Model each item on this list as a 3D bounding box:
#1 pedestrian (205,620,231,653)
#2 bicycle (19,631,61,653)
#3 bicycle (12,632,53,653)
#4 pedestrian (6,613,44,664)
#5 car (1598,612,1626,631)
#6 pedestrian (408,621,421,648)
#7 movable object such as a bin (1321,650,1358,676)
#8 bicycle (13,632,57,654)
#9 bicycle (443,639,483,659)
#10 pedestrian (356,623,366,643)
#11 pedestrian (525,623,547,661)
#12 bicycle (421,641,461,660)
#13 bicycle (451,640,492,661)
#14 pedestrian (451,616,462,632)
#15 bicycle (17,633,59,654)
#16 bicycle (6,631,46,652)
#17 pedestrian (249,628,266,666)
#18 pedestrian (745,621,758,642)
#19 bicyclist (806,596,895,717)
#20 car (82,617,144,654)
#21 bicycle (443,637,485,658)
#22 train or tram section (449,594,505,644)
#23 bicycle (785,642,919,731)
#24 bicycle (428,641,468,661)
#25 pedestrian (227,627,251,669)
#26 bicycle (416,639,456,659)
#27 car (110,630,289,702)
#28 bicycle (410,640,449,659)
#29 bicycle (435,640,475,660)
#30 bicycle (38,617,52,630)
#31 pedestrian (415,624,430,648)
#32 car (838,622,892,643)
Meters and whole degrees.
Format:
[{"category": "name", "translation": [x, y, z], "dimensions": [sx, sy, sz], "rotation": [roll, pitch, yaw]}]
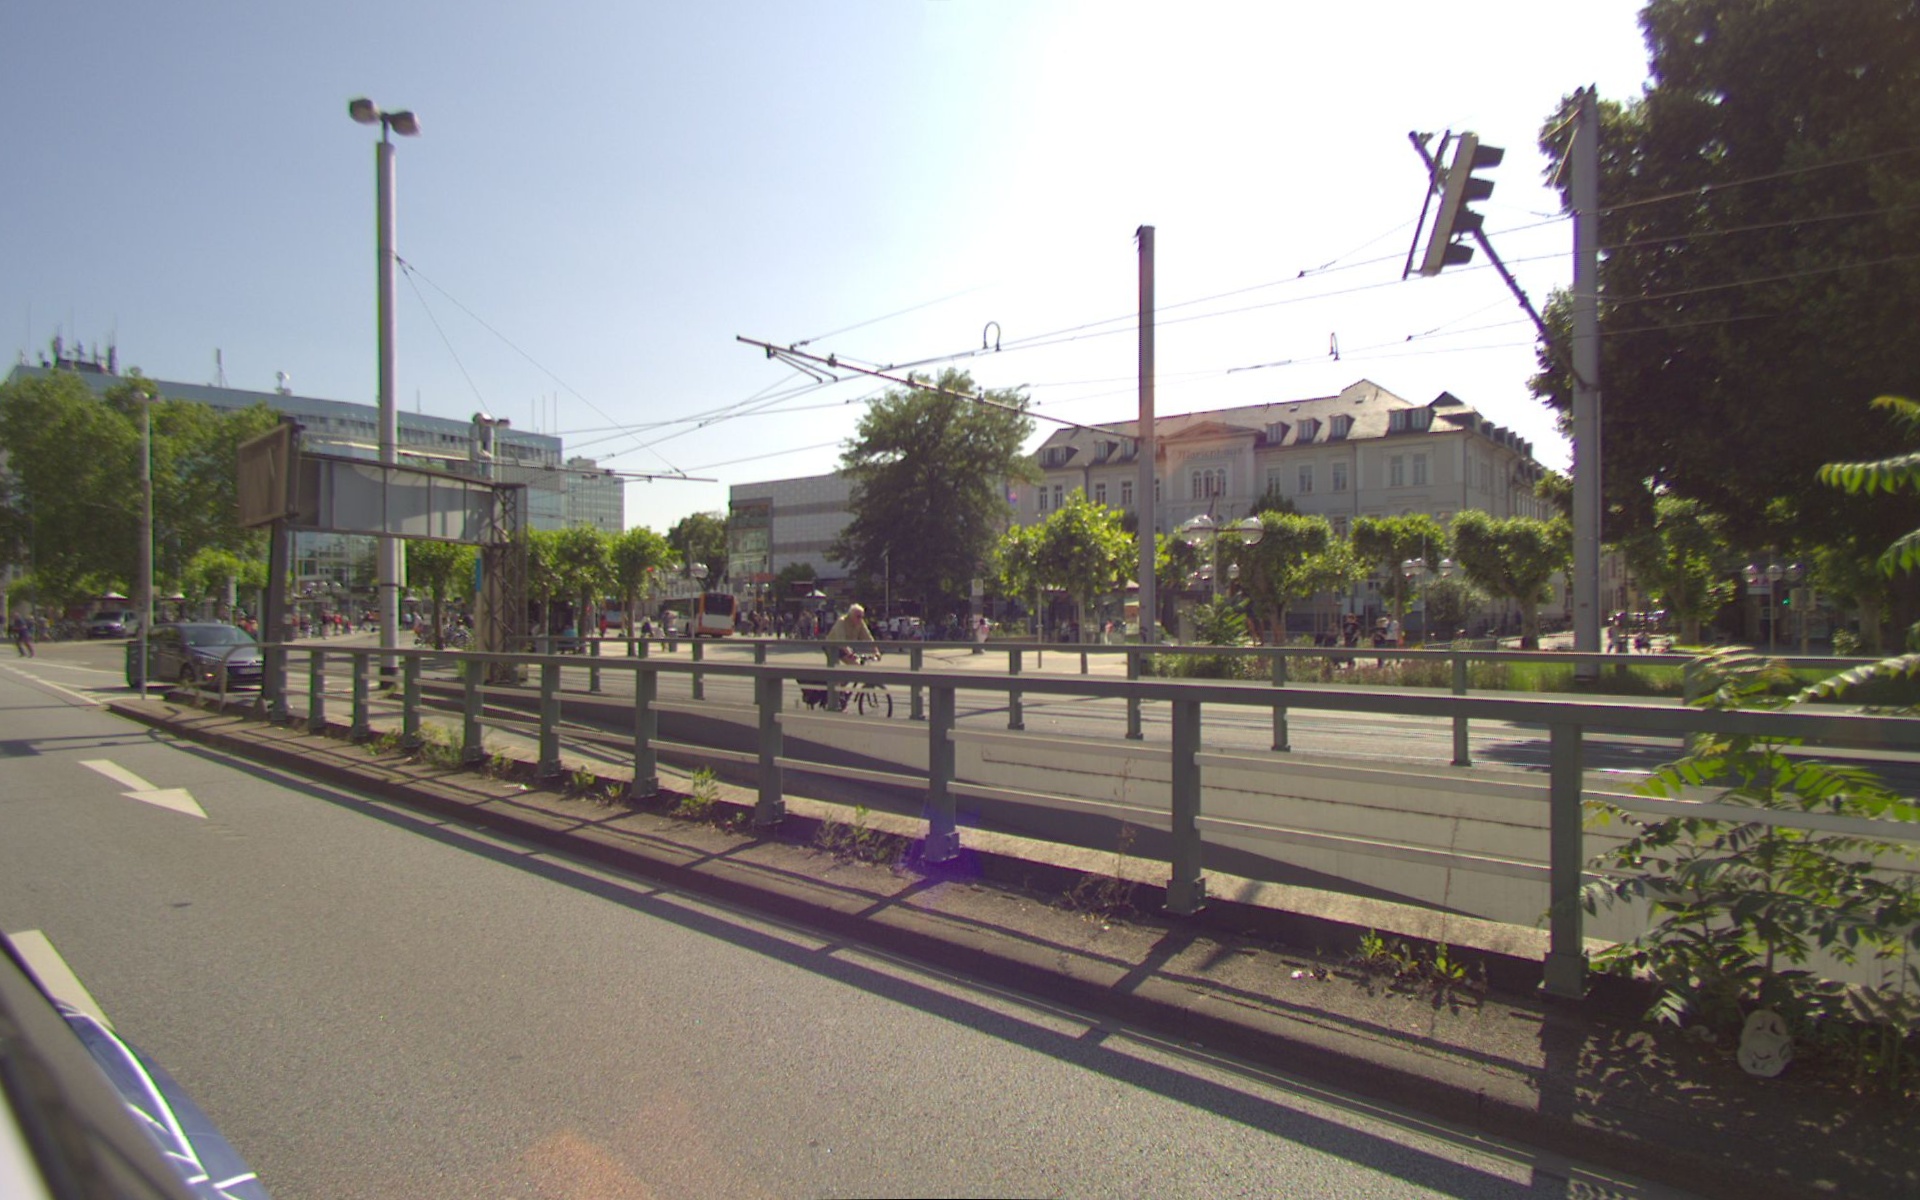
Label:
[{"category": "pedestrian", "translation": [-38.580, 1.884, 52.644], "dimensions": [0.678, 1.671, 0.885], "rotation": [-1, -2, 32]}, {"category": "bicycle", "translation": [-53.093, 2.419, 58.412], "dimensions": [0.482, 1.156, 1.735], "rotation": [-1, 0, 39]}, {"category": "bicycle", "translation": [-54.960, 2.515, 59.971], "dimensions": [0.482, 1.156, 1.735], "rotation": [-1, 0, 39]}, {"category": "pedestrian", "translation": [-37.626, 1.559, 40.727], "dimensions": [0.670, 2.023, 0.895], "rotation": [0, -2, -2]}, {"category": "car", "translation": [67.785, 2.215, 105.190], "dimensions": [1.998, 1.807, 3.948], "rotation": [-1, 2, 39]}, {"category": "pedestrian", "translation": [-34.005, 2.162, 63.103], "dimensions": [0.518, 1.678, 0.469], "rotation": [0, -3, 19]}, {"category": "movable object such as a bin", "translation": [11.634, 1.936, 31.036], "dimensions": [0.800, 0.760, 0.897], "rotation": [-2, -3, 41]}, {"category": "bicycle", "translation": [-54.124, 2.509, 59.249], "dimensions": [0.482, 1.156, 1.842], "rotation": [-1, 0, 39]}, {"category": "bicycle", "translation": [-25.515, 2.502, 51.982], "dimensions": [0.579, 0.876, 1.853], "rotation": [-1, 2, 28]}, {"category": "pedestrian", "translation": [-46.961, 2.606, 79.303], "dimensions": [0.448, 1.561, 0.474], "rotation": [0, -2, 15]}, {"category": "pedestrian", "translation": [-18.114, 1.784, 43.239], "dimensions": [0.597, 1.621, 0.573], "rotation": [0, -2, 13]}, {"category": "bicycle", "translation": [-27.204, 2.634, 53.082], "dimensions": [0.544, 0.862, 1.853], "rotation": [-1, 2, 28]}, {"category": "bicycle", "translation": [-24.163, 2.512, 50.098], "dimensions": [0.579, 0.876, 1.853], "rotation": [-1, 2, 28]}, {"category": "pedestrian", "translation": [-47.967, 2.308, 96.438], "dimensions": [0.555, 1.483, 0.747], "rotation": [-1, 2, 41]}, {"category": "bicycle", "translation": [-53.482, 2.502, 58.731], "dimensions": [0.482, 1.156, 1.735], "rotation": [-1, 0, 39]}, {"category": "bicycle", "translation": [-56.944, 2.530, 61.697], "dimensions": [0.482, 1.156, 1.735], "rotation": [-1, 0, 39]}, {"category": "pedestrian", "translation": [-30.219, 2.004, 43.535], "dimensions": [0.518, 1.621, 0.627], "rotation": [2, -3, -39]}, {"category": "pedestrian", "translation": [-14.855, 2.247, 71.970], "dimensions": [0.681, 1.477, 0.616], "rotation": [-2, -3, 44]}, {"category": "bicyclist", "translation": [-1.538, 0.789, 14.231], "dimensions": [0.902, 1.634, 0.809], "rotation": [-2, -4, 41]}, {"category": "car", "translation": [-54.794, 2.243, 65.565], "dimensions": [1.966, 2.028, 5.083], "rotation": [-3, 2, -27]}, {"category": "bicycle", "translation": [-24.681, 2.344, 50.388], "dimensions": [0.579, 0.876, 1.853], "rotation": [-1, 2, 28]}, {"category": "train or tram section", "translation": [-41.584, 1.506, 87.335], "dimensions": [2.578, 3.855, 9.547], "rotation": [-2, 2, -15]}, {"category": "bicycle", "translation": [-1.532, 1.171, 14.212], "dimensions": [1.873, 1.129, 0.809], "rotation": [0, -2, 42]}, {"category": "bicycle", "translation": [-26.685, 2.642, 52.780], "dimensions": [0.544, 0.862, 1.853], "rotation": [-1, 2, 28]}, {"category": "pedestrian", "translation": [-30.682, 2.042, 43.062], "dimensions": [0.581, 1.747, 0.524], "rotation": [0, -2, 11]}, {"category": "bicycle", "translation": [-27.823, 2.580, 53.734], "dimensions": [0.581, 0.878, 1.853], "rotation": [-1, 2, 28]}, {"category": "car", "translation": [-16.811, 1.427, 22.347], "dimensions": [3.984, 1.415, 1.683], "rotation": [0, -4, 30]}, {"category": "bicycle", "translation": [-28.354, 2.635, 54.116], "dimensions": [0.544, 0.862, 1.853], "rotation": [-1, 2, 28]}, {"category": "bicycle", "translation": [-26.058, 2.580, 52.283], "dimensions": [0.544, 0.862, 1.853], "rotation": [-1, 2, 28]}, {"category": "bicycle", "translation": [-85.562, 2.221, 94.633], "dimensions": [1.754, 1.156, 0.586], "rotation": [-1, 0, 34]}, {"category": "pedestrian", "translation": [-33.388, 2.258, 62.884], "dimensions": [0.549, 1.477, 0.621], "rotation": [0, -2, 19]}, {"category": "car", "translation": [-7.313, 2.490, 78.017], "dimensions": [3.991, 1.519, 1.740], "rotation": [-1, 2, 36]}]
